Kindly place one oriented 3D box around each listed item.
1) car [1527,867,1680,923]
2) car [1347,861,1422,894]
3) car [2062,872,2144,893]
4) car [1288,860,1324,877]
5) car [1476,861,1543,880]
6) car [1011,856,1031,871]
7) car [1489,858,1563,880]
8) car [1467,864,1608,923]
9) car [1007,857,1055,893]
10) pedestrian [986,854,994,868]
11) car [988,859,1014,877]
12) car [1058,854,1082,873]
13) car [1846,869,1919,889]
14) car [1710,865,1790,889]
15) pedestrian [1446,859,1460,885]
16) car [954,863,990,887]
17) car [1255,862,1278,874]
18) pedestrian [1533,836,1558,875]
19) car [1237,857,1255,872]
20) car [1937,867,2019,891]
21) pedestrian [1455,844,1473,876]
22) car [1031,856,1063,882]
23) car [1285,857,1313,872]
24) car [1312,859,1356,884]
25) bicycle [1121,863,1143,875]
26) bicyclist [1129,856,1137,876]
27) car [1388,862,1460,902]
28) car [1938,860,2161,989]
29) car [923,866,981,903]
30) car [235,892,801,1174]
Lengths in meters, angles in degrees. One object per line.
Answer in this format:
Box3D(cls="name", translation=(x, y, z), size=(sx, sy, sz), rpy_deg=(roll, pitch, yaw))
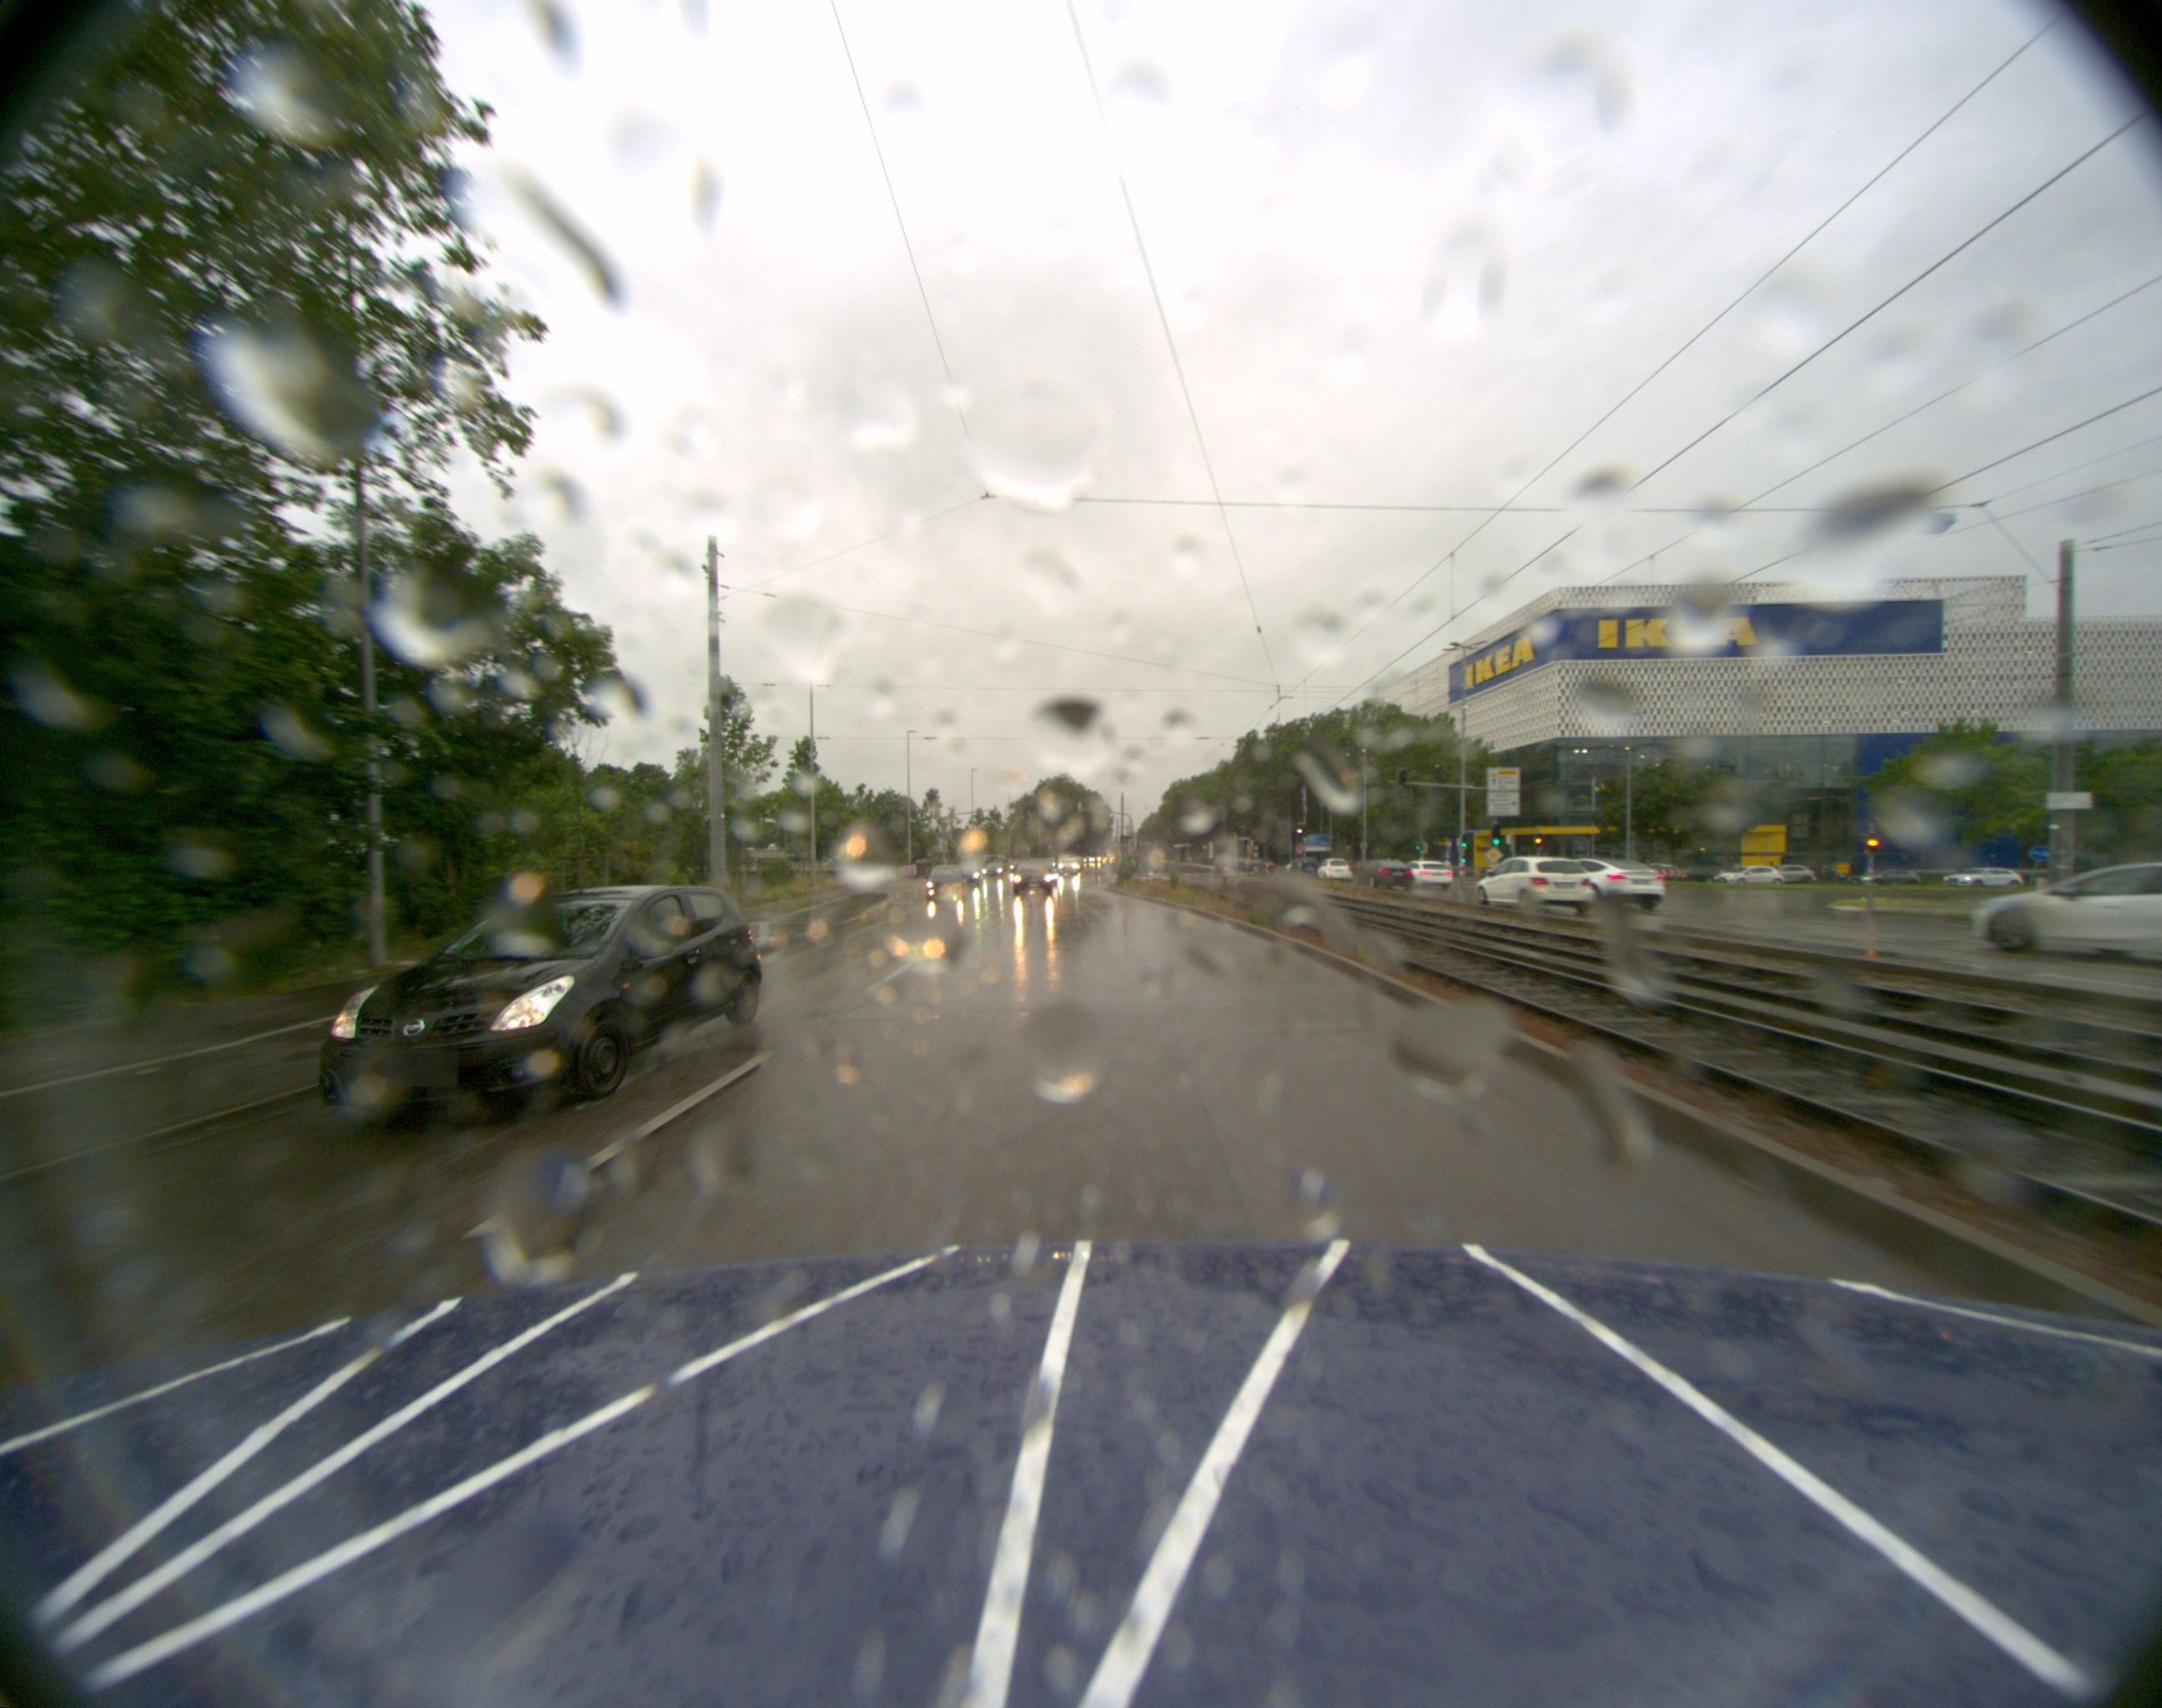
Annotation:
Box3D(cls="car", translation=(17.458, 1.306, 25.747), size=(1.912, 1.597, 4.843), rpy_deg=(-3, -1, 2))
Box3D(cls="car", translation=(15.113, 1.146, 38.155), size=(1.927, 1.415, 5.085), rpy_deg=(3, -1, 4))
Box3D(cls="car", translation=(77.366, 2.162, 57.557), size=(3.821, 1.399, 1.603), rpy_deg=(-2, 1, 5))
Box3D(cls="car", translation=(17.850, 1.135, 60.449), size=(1.716, 1.242, 4.463), rpy_deg=(-2, -1, 3))
Box3D(cls="car", translation=(34.477, 1.326, 61.197), size=(4.284, 1.531, 1.820), rpy_deg=(0, -1, 4))
Box3D(cls="car", translation=(-6.754, 1.090, 85.215), size=(1.715, 1.515, 4.179), rpy_deg=(-2, -1, 2))
Box3D(cls="car", translation=(33.787, 1.114, 57.770), size=(4.458, 1.531, 1.820), rpy_deg=(-2, -1, 4))
Box3D(cls="car", translation=(13.766, 1.127, 23.258), size=(1.877, 1.564, 4.330), rpy_deg=(-2, -1, 4))
Box3D(cls="car", translation=(-2.342, 1.003, 36.572), size=(1.876, 1.573, 4.044), rpy_deg=(-2, -1, 1))
Box3D(cls="pedestrian", translation=(-10.197, 0.810, 85.099), size=(0.734, 1.602, 0.618), rpy_deg=(0, 1, 2))
Box3D(cls="car", translation=(-7.360, 1.291, 70.085), size=(1.715, 1.515, 4.179), rpy_deg=(-2, -1, 2))
Box3D(cls="car", translation=(-1.053, 0.884, 74.234), size=(1.994, 1.778, 4.554), rpy_deg=(-2, 0, 2))
Box3D(cls="car", translation=(62.225, 1.933, 59.045), size=(3.821, 1.399, 1.603), rpy_deg=(-2, 1, 5))
Box3D(cls="car", translation=(49.531, 1.670, 56.314), size=(4.105, 1.594, 2.000), rpy_deg=(-2, 1, 3))
Box3D(cls="pedestrian", translation=(29.679, 1.416, 60.668), size=(0.783, 2.002, 0.858), rpy_deg=(-2, 1, 10))
Box3D(cls="car", translation=(-7.273, 1.369, 51.041), size=(1.715, 1.515, 4.044), rpy_deg=(-2, -1, 2))
Box3D(cls="car", translation=(19.474, 1.474, 79.839), size=(1.716, 1.242, 4.049), rpy_deg=(-2, -1, 5))
Box3D(cls="pedestrian", translation=(24.631, 0.086, 40.287), size=(0.696, 2.002, 0.857), rpy_deg=(-2, 1, -5))
Box3D(cls="car", translation=(20.438, 1.279, 94.208), size=(1.715, 1.697, 4.432), rpy_deg=(-2, -1, 6))
Box3D(cls="car", translation=(68.725, 1.934, 58.247), size=(4.009, 1.664, 1.682), rpy_deg=(-2, 1, 5))
Box3D(cls="pedestrian", translation=(27.900, 0.425, 55.323), size=(0.919, 2.232, 0.990), rpy_deg=(-3, 2, 16))
Box3D(cls="car", translation=(-2.114, 0.950, 48.278), size=(1.715, 1.515, 4.044), rpy_deg=(-2, -1, 2))
Box3D(cls="car", translation=(22.268, 1.120, 77.801), size=(1.816, 1.427, 4.715), rpy_deg=(-2, -1, 4))
Box3D(cls="car", translation=(16.540, 1.158, 49.846), size=(1.716, 1.526, 4.049), rpy_deg=(-2, -1, 4))
Box3D(cls="bicycle", translation=(4.548, 1.343, 67.912), size=(1.870, 1.002, 0.670), rpy_deg=(-3, -1, 0))
Box3D(cls="bicyclist", translation=(4.649, 1.046, 67.846), size=(0.618, 1.721, 0.793), rpy_deg=(-3, -1, 0))
Box3D(cls="car", translation=(18.804, 1.484, 41.925), size=(1.998, 1.890, 4.791), rpy_deg=(-2, 1, 3))
Box3D(cls="car", translation=(16.777, 1.042, 11.703), size=(1.998, 1.823, 4.693), rpy_deg=(0, 1, 4))
Box3D(cls="car", translation=(-5.619, 1.285, 33.565), size=(1.715, 1.475, 4.044), rpy_deg=(-2, -1, 2))
Box3D(cls="car", translation=(-4.046, 1.142, 6.489), size=(1.776, 1.453, 4.092), rpy_deg=(-2, -1, -1))
